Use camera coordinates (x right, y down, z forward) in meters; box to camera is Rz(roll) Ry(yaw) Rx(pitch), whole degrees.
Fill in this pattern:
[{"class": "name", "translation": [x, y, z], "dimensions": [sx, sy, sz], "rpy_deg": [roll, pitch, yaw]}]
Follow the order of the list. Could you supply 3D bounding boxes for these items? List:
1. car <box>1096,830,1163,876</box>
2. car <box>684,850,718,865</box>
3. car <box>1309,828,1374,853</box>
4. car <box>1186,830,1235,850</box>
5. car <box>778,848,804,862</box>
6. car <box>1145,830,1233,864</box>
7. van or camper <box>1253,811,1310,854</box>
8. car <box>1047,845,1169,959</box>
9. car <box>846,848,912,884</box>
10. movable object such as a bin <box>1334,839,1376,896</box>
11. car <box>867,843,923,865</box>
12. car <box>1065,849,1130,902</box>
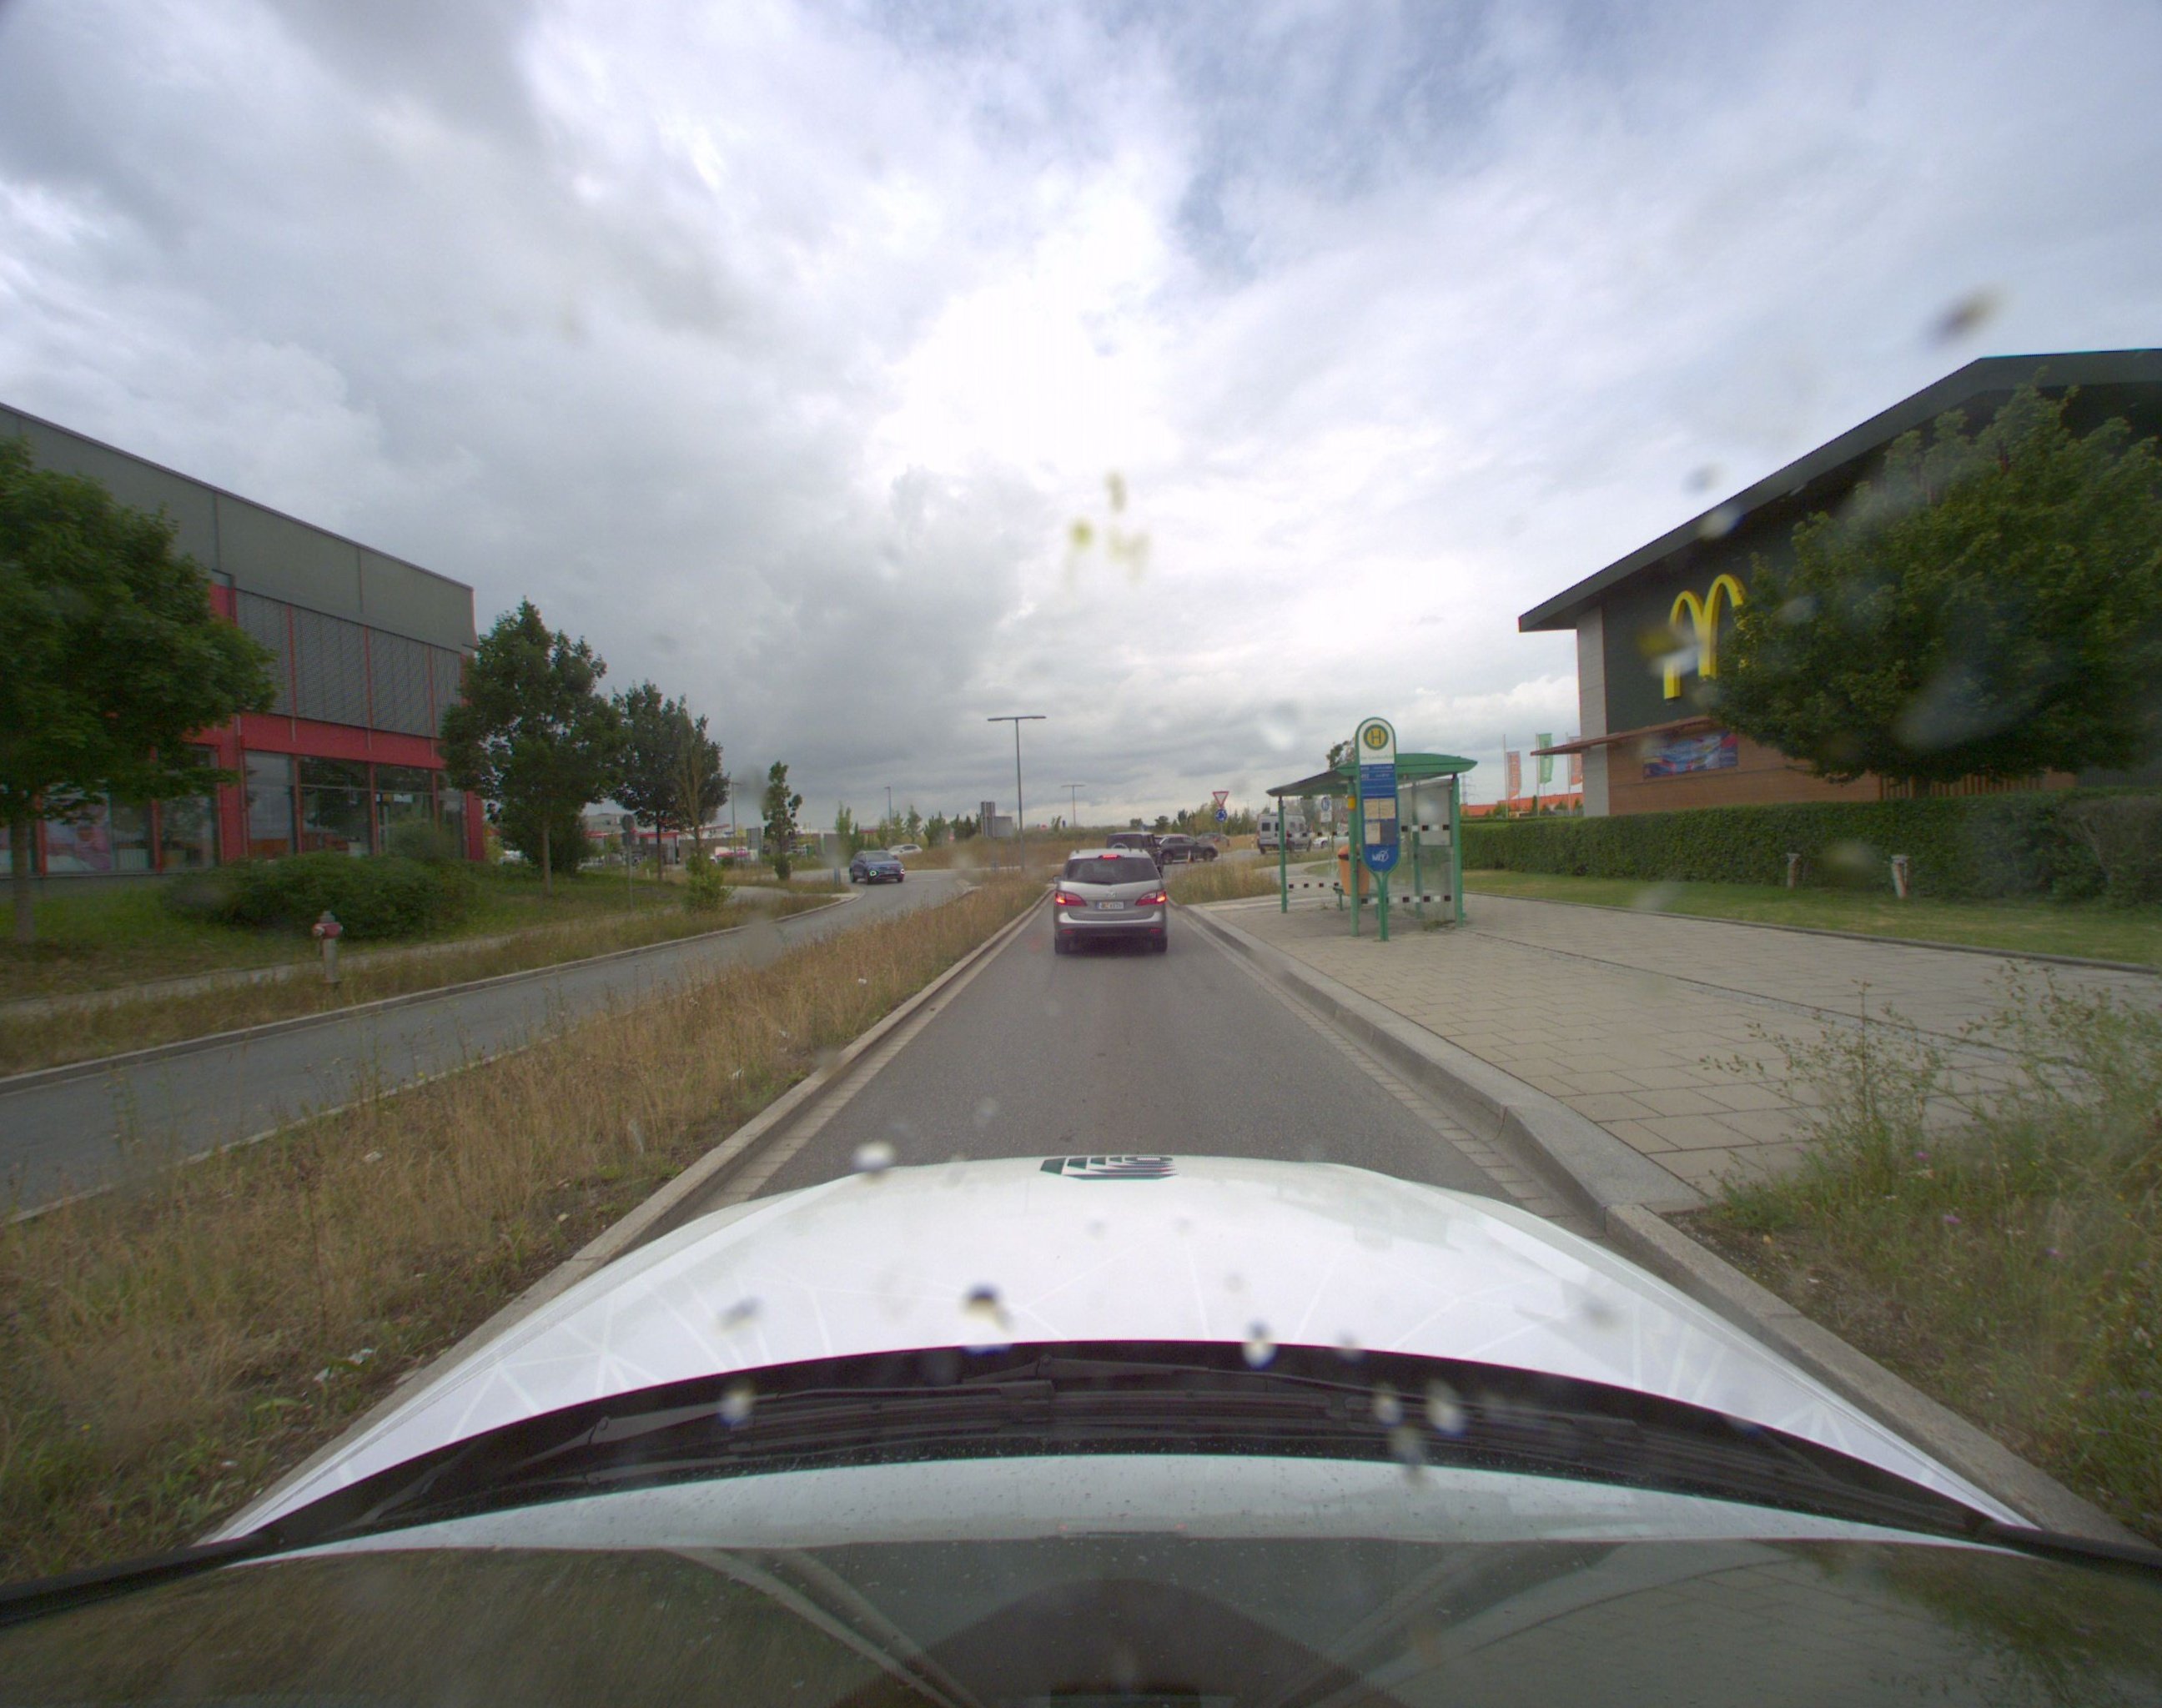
[{"class": "car", "translation": [2.243, -0.061, 36.026], "dimensions": [2.043, 1.825, 4.804], "rpy_deg": [-2, 0, 14]}, {"class": "car", "translation": [-54.767, 0.509, 117.411], "dimensions": [3.974, 2.013, 2.000], "rpy_deg": [-2, 0, 0]}, {"class": "car", "translation": [20.318, -1.066, 63.670], "dimensions": [4.571, 1.757, 2.007], "rpy_deg": [-2, 0, 12]}, {"class": "car", "translation": [10.720, -1.159, 67.661], "dimensions": [2.004, 1.515, 3.965], "rpy_deg": [-2, 0, -26]}, {"class": "car", "translation": [-41.372, 0.100, 116.315], "dimensions": [1.985, 1.859, 4.003], "rpy_deg": [-2, 0, 2]}, {"class": "car", "translation": [5.862, -0.392, 44.193], "dimensions": [4.207, 1.592, 2.050], "rpy_deg": [-4, 1, -22]}, {"class": "van or camper", "translation": [12.806, -1.356, 51.699], "dimensions": [2.281, 2.506, 5.238], "rpy_deg": [-1, 0, 28]}, {"class": "car", "translation": [0.401, 0.663, 13.579], "dimensions": [1.724, 1.600, 3.807], "rpy_deg": [-1, 1, 0]}, {"class": "car", "translation": [-9.934, 0.615, 39.777], "dimensions": [1.854, 1.528, 4.185], "rpy_deg": [-4, 0, -32]}, {"class": "movable object such as a bin", "translation": [3.923, 0.190, 11.673], "dimensions": [0.454, 0.798, 0.380], "rpy_deg": [-2, 0, 1]}, {"class": "car", "translation": [-15.544, -0.010, 68.313], "dimensions": [2.007, 1.690, 4.242], "rpy_deg": [-2, 1, 36]}, {"class": "car", "translation": [0.595, 0.611, 25.658], "dimensions": [1.837, 1.418, 4.228], "rpy_deg": [-2, 1, 3]}]
